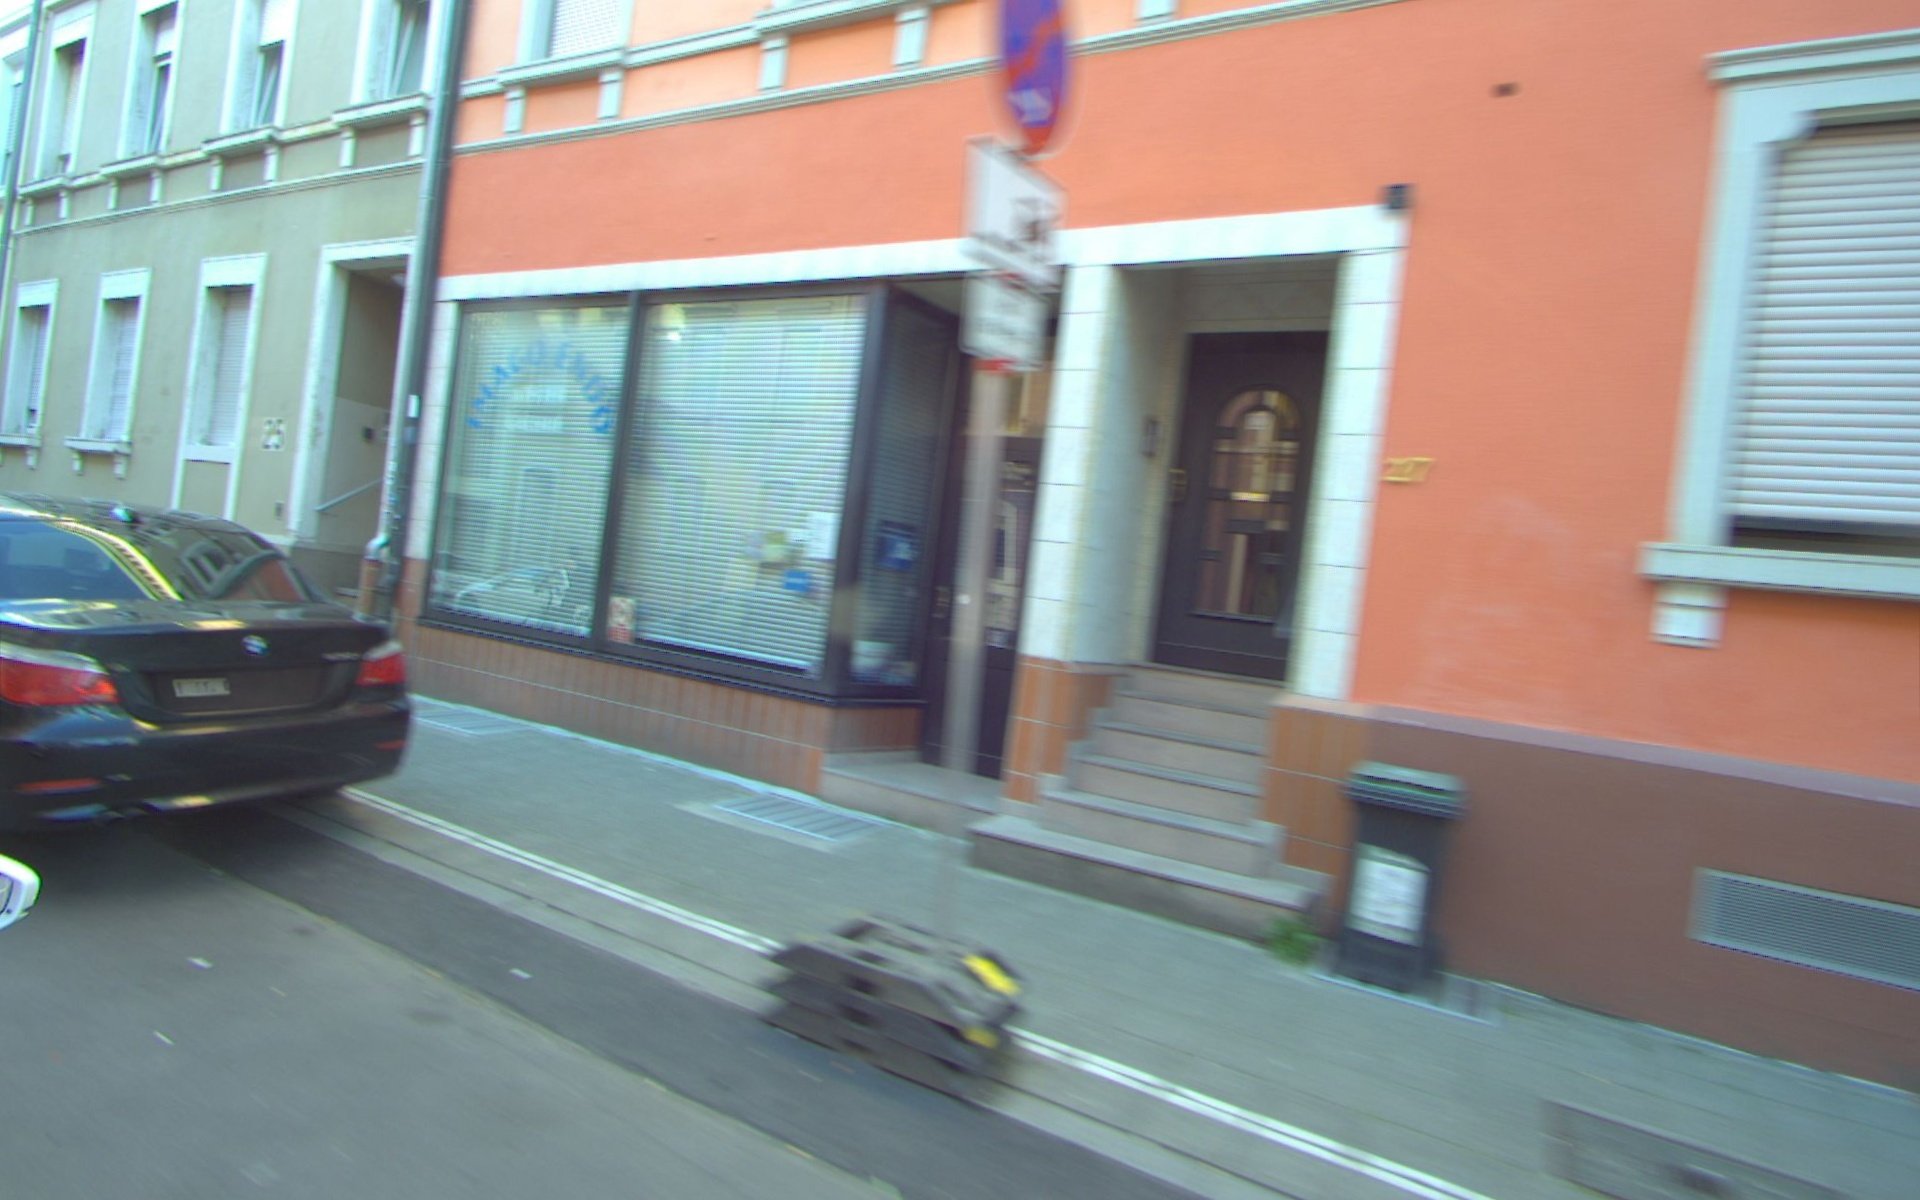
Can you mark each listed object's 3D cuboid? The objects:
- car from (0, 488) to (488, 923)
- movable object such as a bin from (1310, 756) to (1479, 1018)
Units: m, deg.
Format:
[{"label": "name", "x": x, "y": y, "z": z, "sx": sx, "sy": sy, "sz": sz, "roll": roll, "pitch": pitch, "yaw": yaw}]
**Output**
[{"label": "car", "x": -4.828, "y": 0.170, "z": 5.237, "sx": 4.708, "sy": 1.457, "sz": 1.819, "roll": 7, "pitch": 1, "yaw": 29}, {"label": "movable object such as a bin", "x": 1.939, "y": 1.224, "z": 4.467, "sx": 0.569, "sy": 0.918, "sz": 0.598, "roll": 6, "pitch": 2, "yaw": 28}]
